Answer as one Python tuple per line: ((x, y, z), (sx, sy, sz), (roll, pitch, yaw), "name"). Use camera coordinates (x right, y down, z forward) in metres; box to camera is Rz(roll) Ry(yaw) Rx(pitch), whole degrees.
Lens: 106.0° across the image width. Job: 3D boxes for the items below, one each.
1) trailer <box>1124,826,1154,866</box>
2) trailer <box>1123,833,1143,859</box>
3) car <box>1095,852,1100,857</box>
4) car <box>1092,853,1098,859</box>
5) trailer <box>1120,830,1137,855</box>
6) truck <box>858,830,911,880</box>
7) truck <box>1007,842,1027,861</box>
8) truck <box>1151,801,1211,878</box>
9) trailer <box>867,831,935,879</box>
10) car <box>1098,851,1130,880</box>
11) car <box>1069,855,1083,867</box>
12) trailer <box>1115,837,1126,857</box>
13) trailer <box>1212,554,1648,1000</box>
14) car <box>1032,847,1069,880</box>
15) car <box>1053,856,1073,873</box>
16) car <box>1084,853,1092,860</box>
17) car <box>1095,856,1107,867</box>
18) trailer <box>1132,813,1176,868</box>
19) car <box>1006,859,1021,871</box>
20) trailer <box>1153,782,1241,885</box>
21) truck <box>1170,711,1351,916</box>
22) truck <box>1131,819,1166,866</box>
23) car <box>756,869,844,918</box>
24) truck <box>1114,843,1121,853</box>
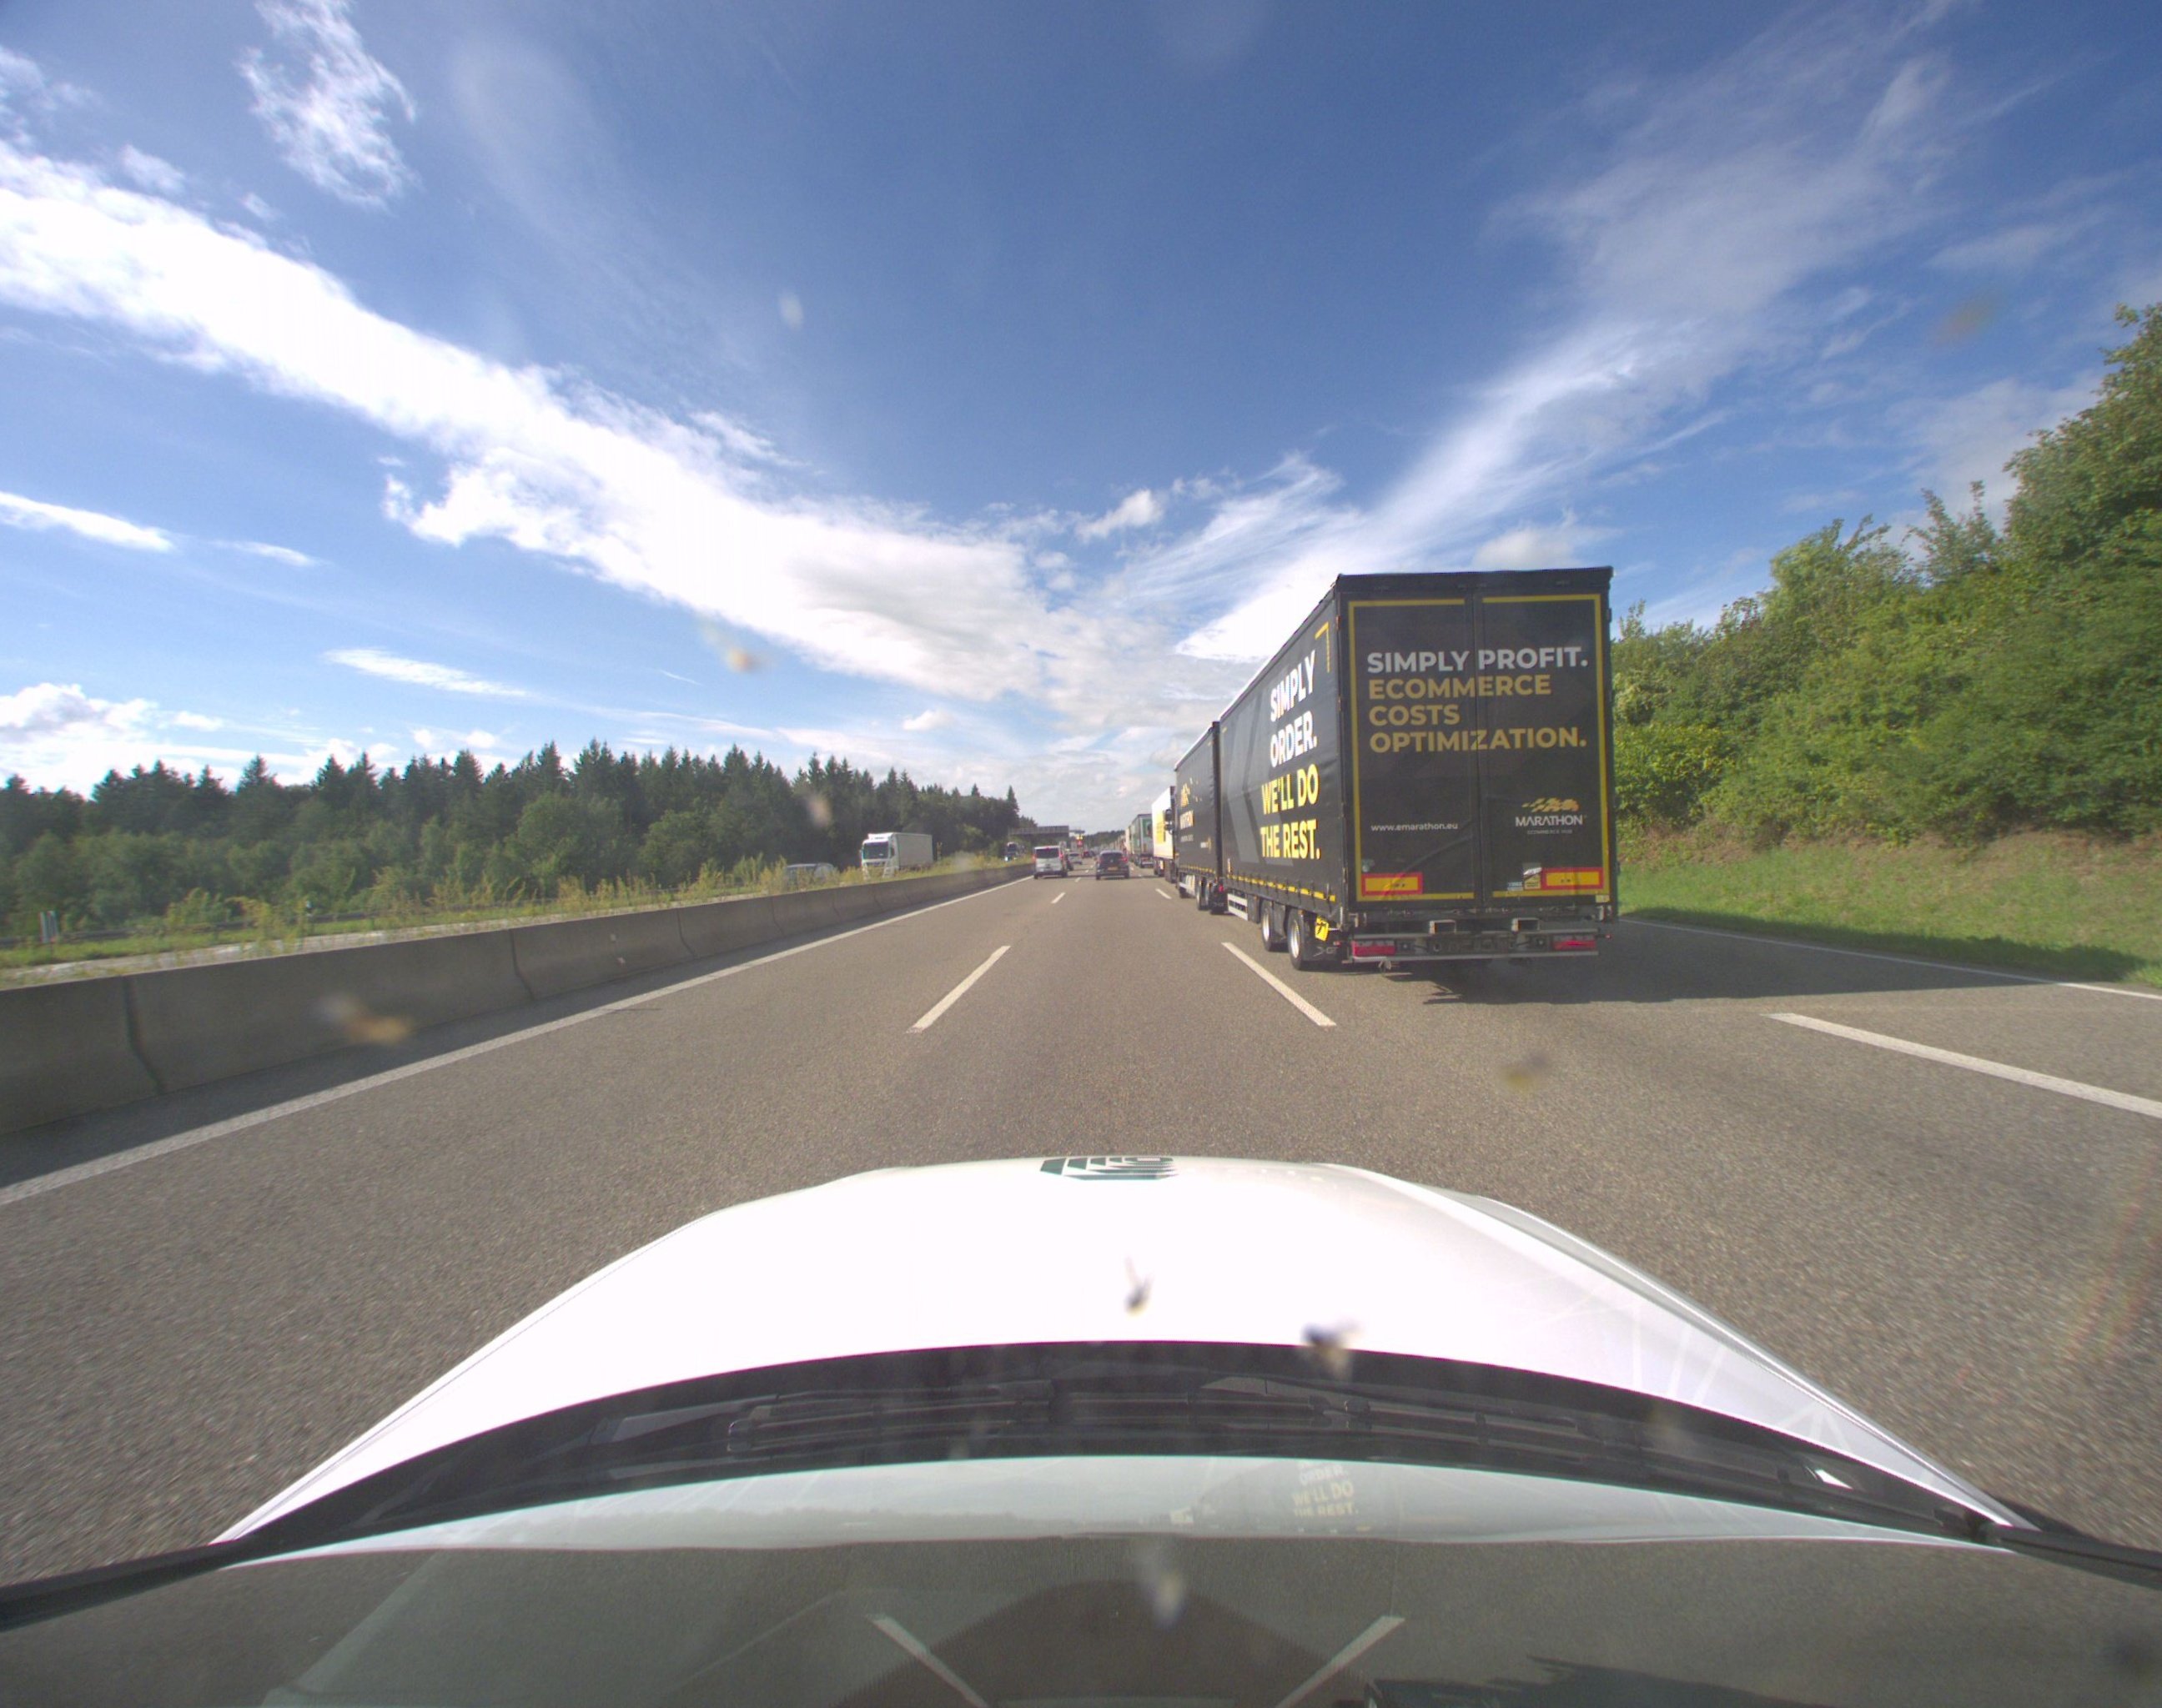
((6.475, -0.893, 92.447), (2.692, 4.081, 12.951), (-4, 0, 2), "trailer")
((7.744, -1.160, 122.618), (2.531, 3.653, 10.632), (-3, 0, 2), "trailer")
((4.900, 0.192, 237.357), (1.355, 1.301, 3.086), (0, 0, 2), "car")
((3.018, 0.439, 174.466), (1.429, 1.310, 3.534), (0, 0, 2), "car")
((8.899, -2.101, 154.039), (2.791, 4.244, 11.064), (-4, 0, 3), "trailer")
((-16.763, 0.099, 69.805), (2.809, 3.976, 5.835), (-2, 0, 1), "truck")
((-13.475, -0.473, 171.499), (2.821, 3.689, 11.136), (-3, 0, 2), "truck")
((5.471, -0.747, 45.621), (2.791, 3.939, 5.829), (-2, 0, 3), "truck")
((-16.579, 0.134, 76.261), (2.822, 3.992, 13.554), (-2, 0, 2), "trailer")
((1.776, 0.606, 44.327), (1.690, 1.483, 4.161), (0, 0, 2), "car")
((-0.548, 0.770, 94.596), (1.494, 1.396, 3.477), (0, 0, 2), "car")
((8.662, -1.511, 177.698), (2.141, 4.259, 8.445), (-3, 0, 3), "trailer")
((3.804, -0.719, 11.604), (2.706, 3.960, 8.714), (0, 0, 2), "trailer")
((-1.852, 0.566, 51.149), (1.925, 1.979, 5.101), (0, 0, 2), "car")
((-1.507, 0.851, 68.093), (1.494, 1.396, 3.477), (0, 0, 2), "car")
((1.286, 0.519, 151.339), (1.429, 1.310, 3.534), (0, 0, 2), "car")
((2.678, 1.004, 108.023), (1.575, 1.396, 3.208), (0, 0, 1), "car")
((5.707, -0.984, 65.850), (2.651, 3.868, 13.401), (-3, 0, 2), "trailer")
((-10.804, 1.716, 130.045), (1.871, 1.876, 4.492), (0, 0, 2), "car")
((5.123, -0.772, 38.457), (2.780, 3.939, 13.078), (-2, 0, 3), "trailer")
((4.071, -0.784, 21.100), (2.730, 4.038, 10.206), (0, 0, 2), "truck")
((5.998, -0.962, 72.906), (2.637, 3.869, 7.000), (-3, 0, 2), "truck")
((-10.636, 1.436, 31.153), (1.808, 1.694, 4.252), (0, 0, 2), "car")
((11.117, -1.798, 248.538), (1.985, 3.052, 4.984), (0, 0, 3), "truck")
